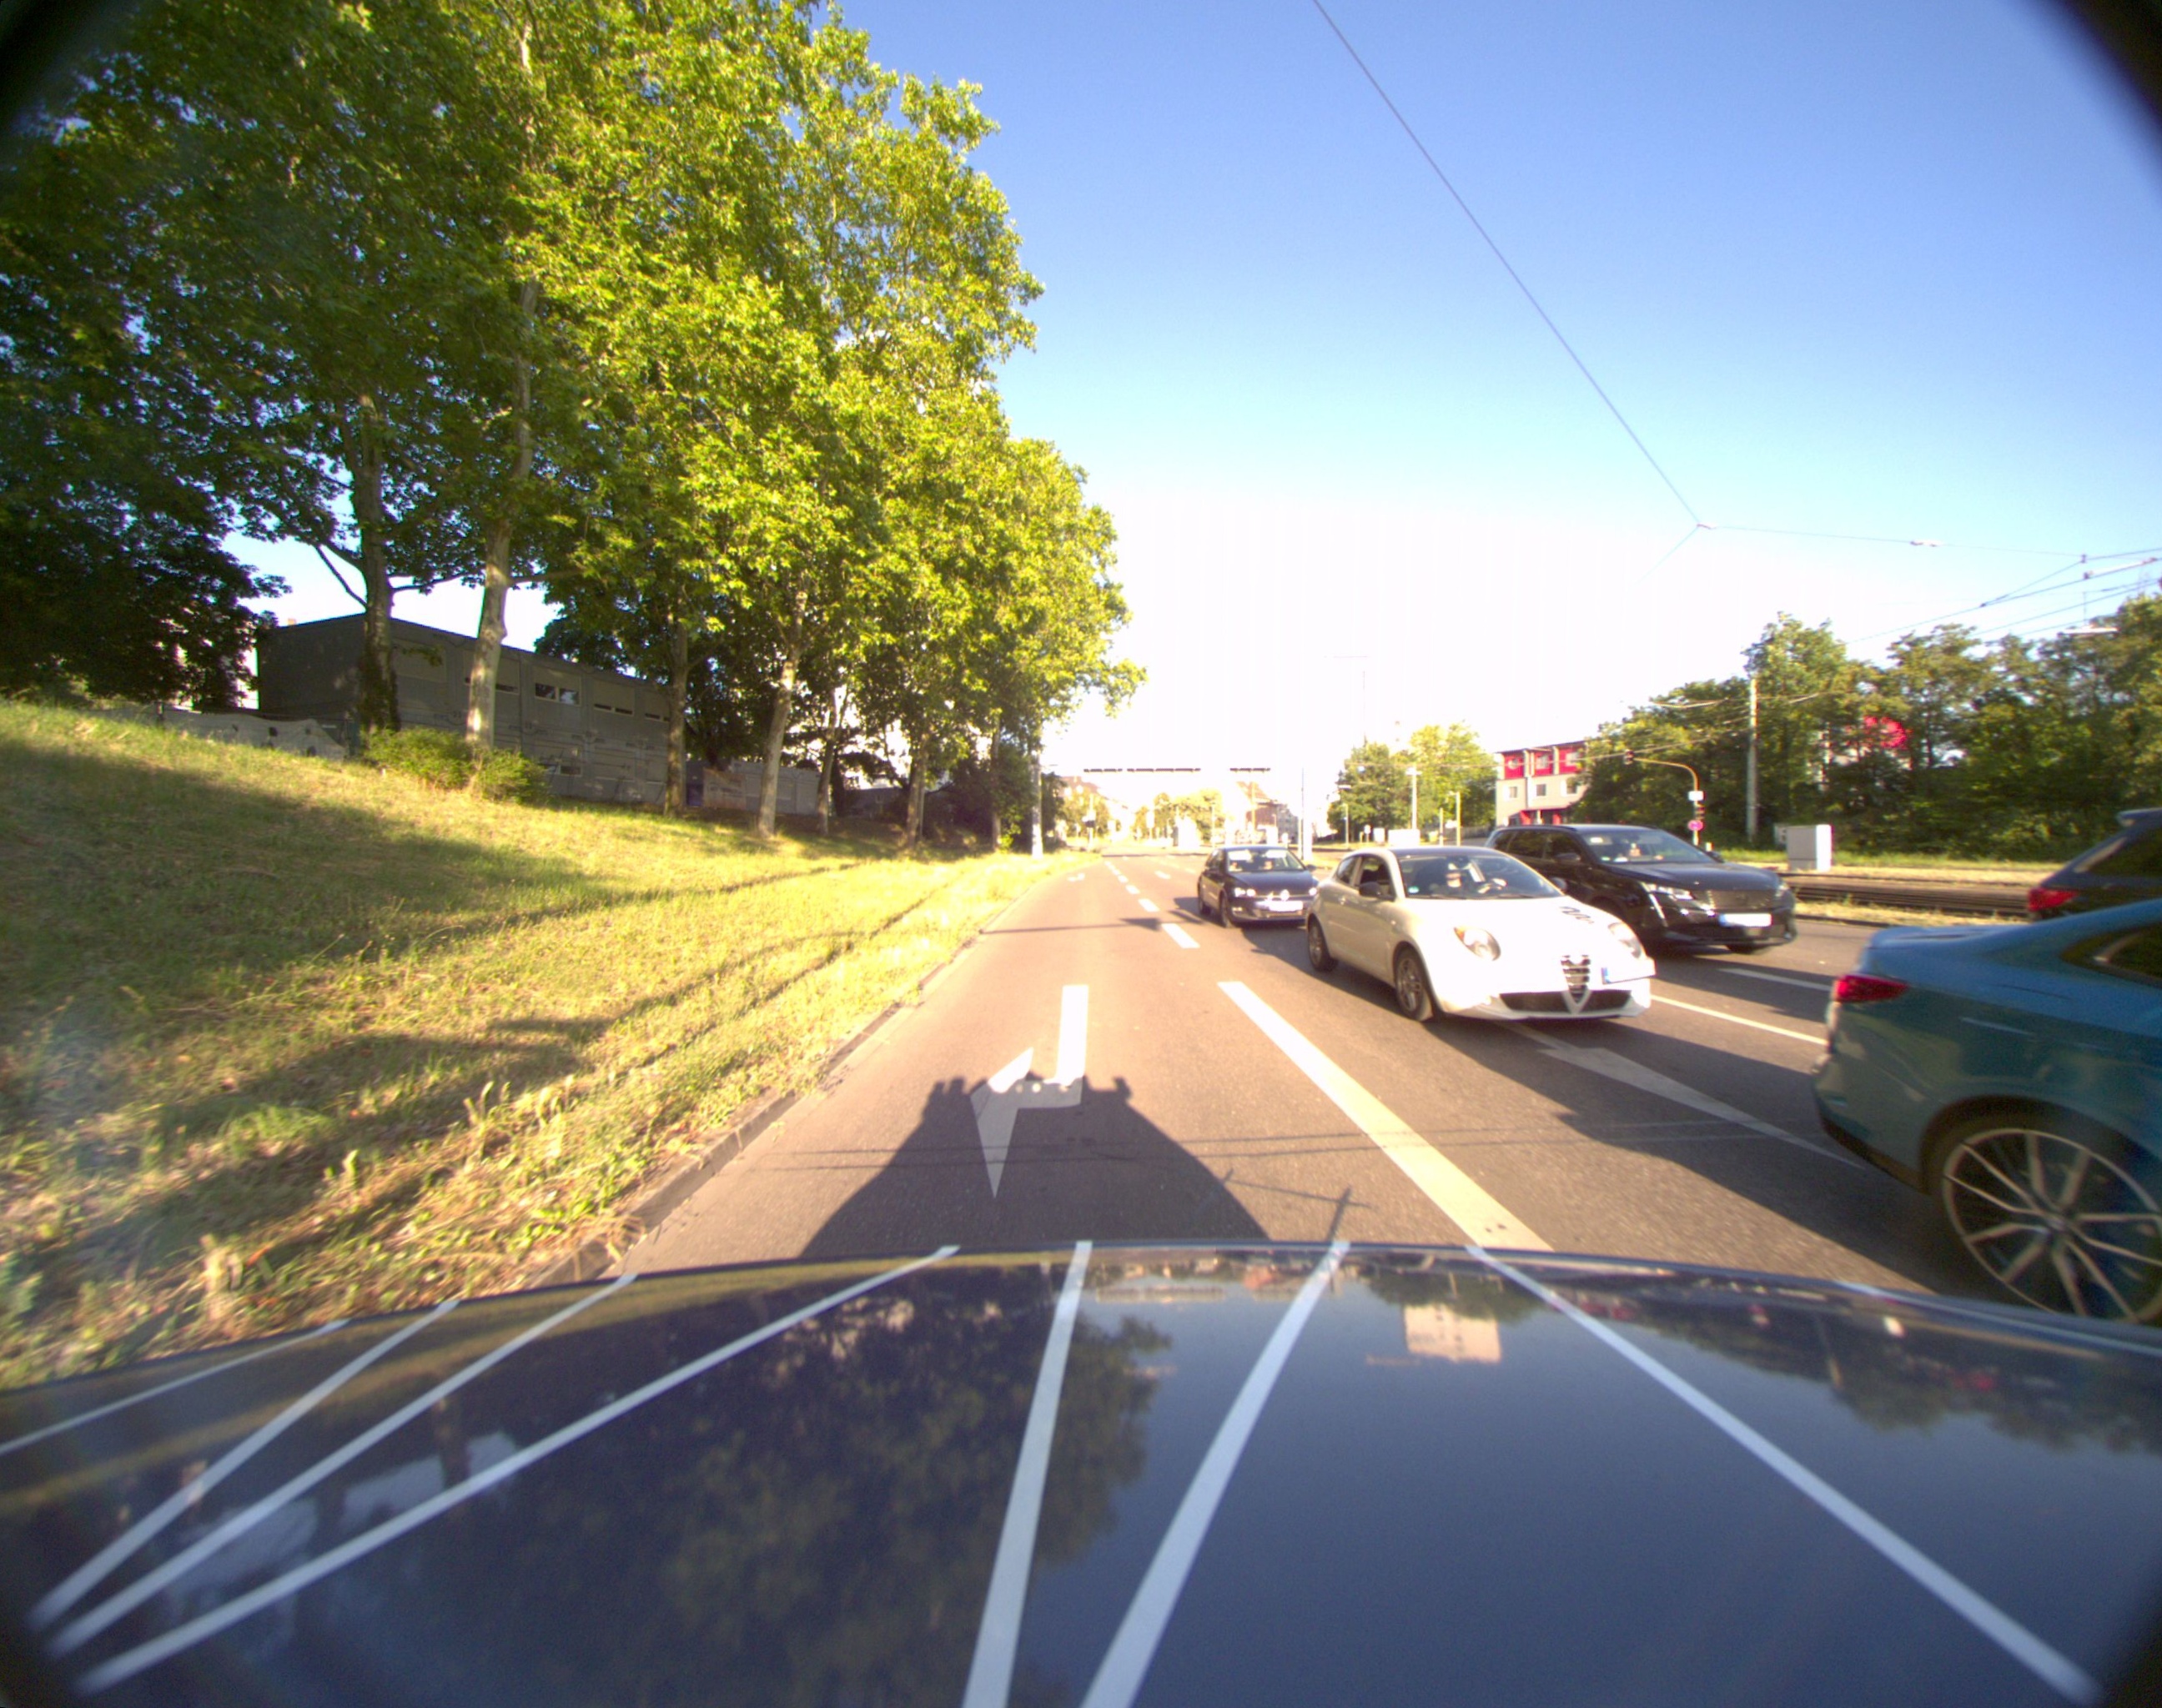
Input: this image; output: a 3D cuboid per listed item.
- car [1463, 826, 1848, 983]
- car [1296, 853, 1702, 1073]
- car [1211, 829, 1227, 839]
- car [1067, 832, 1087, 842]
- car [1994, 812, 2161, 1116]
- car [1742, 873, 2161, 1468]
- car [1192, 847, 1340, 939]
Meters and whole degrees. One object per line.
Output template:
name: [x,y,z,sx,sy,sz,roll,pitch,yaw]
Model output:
car: [7.267,0.496,10.397,1.920,1.639,4.601,-1,1,2]
car: [3.462,0.753,7.231,1.665,1.422,3.923,-1,1,-1]
car: [29.817,-4.411,164.224,1.994,2.002,4.007,-1,2,33]
car: [-0.767,-3.322,145.350,1.995,1.807,4.007,-1,2,31]
car: [6.896,0.614,2.623,1.920,1.672,4.600,-1,1,-1]
car: [3.636,0.842,0.838,1.789,1.409,4.511,-1,1,-2]
car: [3.288,0.608,14.274,1.782,1.422,3.923,-1,1,-1]
